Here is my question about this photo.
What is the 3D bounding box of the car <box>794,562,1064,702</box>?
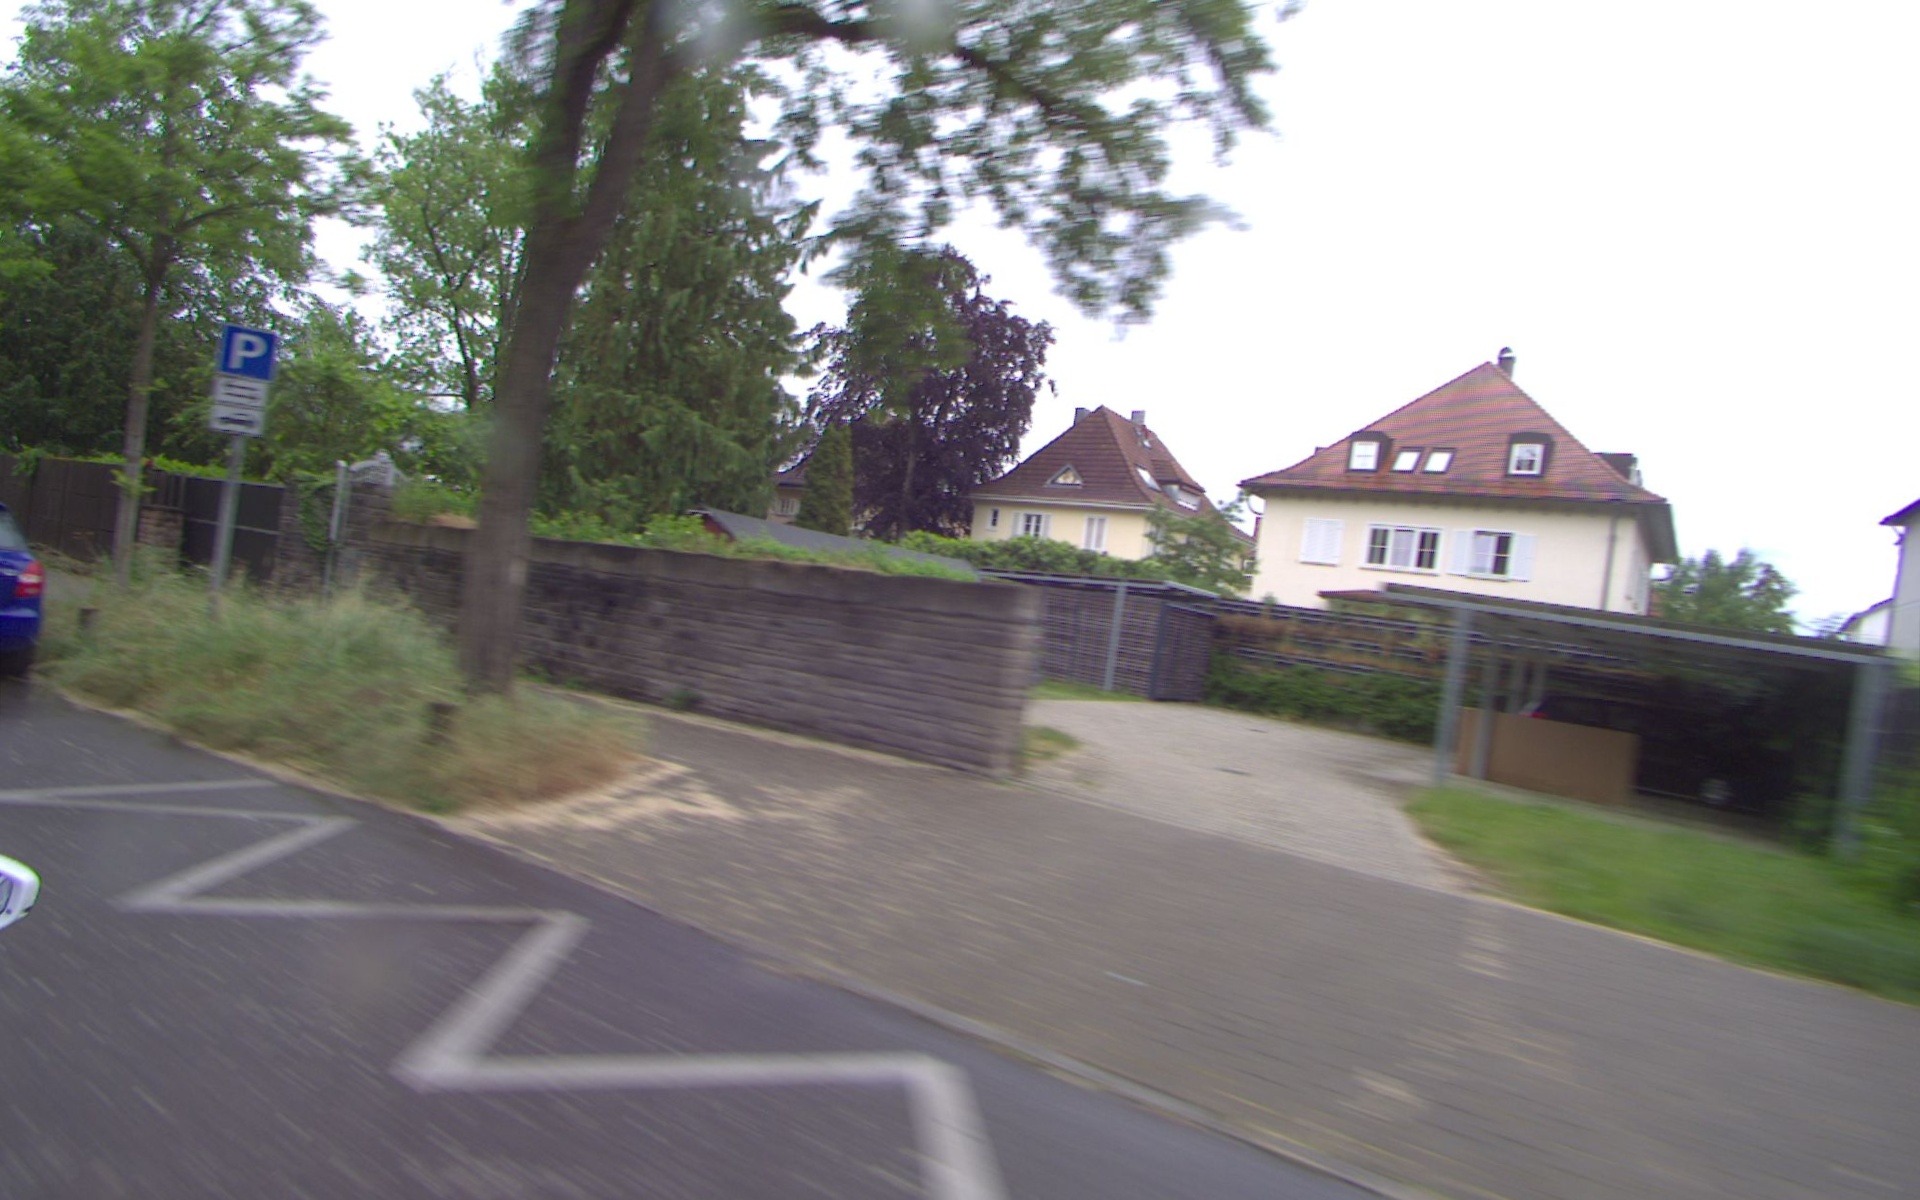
[{"bbox_3d":[-0.585,0.527,17.405,4.185,1.832,1.832,7,-1,32],"label":"car"}]

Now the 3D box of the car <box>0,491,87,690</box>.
[{"bbox_3d":[-9.385,-0.341,8.567,3.983,1.523,1.725,8,-2,32],"label":"car"}]

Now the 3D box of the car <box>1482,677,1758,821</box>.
[{"bbox_3d":[11.408,2.524,17.557,3.710,1.708,1.733,8,-2,37],"label":"car"}]
